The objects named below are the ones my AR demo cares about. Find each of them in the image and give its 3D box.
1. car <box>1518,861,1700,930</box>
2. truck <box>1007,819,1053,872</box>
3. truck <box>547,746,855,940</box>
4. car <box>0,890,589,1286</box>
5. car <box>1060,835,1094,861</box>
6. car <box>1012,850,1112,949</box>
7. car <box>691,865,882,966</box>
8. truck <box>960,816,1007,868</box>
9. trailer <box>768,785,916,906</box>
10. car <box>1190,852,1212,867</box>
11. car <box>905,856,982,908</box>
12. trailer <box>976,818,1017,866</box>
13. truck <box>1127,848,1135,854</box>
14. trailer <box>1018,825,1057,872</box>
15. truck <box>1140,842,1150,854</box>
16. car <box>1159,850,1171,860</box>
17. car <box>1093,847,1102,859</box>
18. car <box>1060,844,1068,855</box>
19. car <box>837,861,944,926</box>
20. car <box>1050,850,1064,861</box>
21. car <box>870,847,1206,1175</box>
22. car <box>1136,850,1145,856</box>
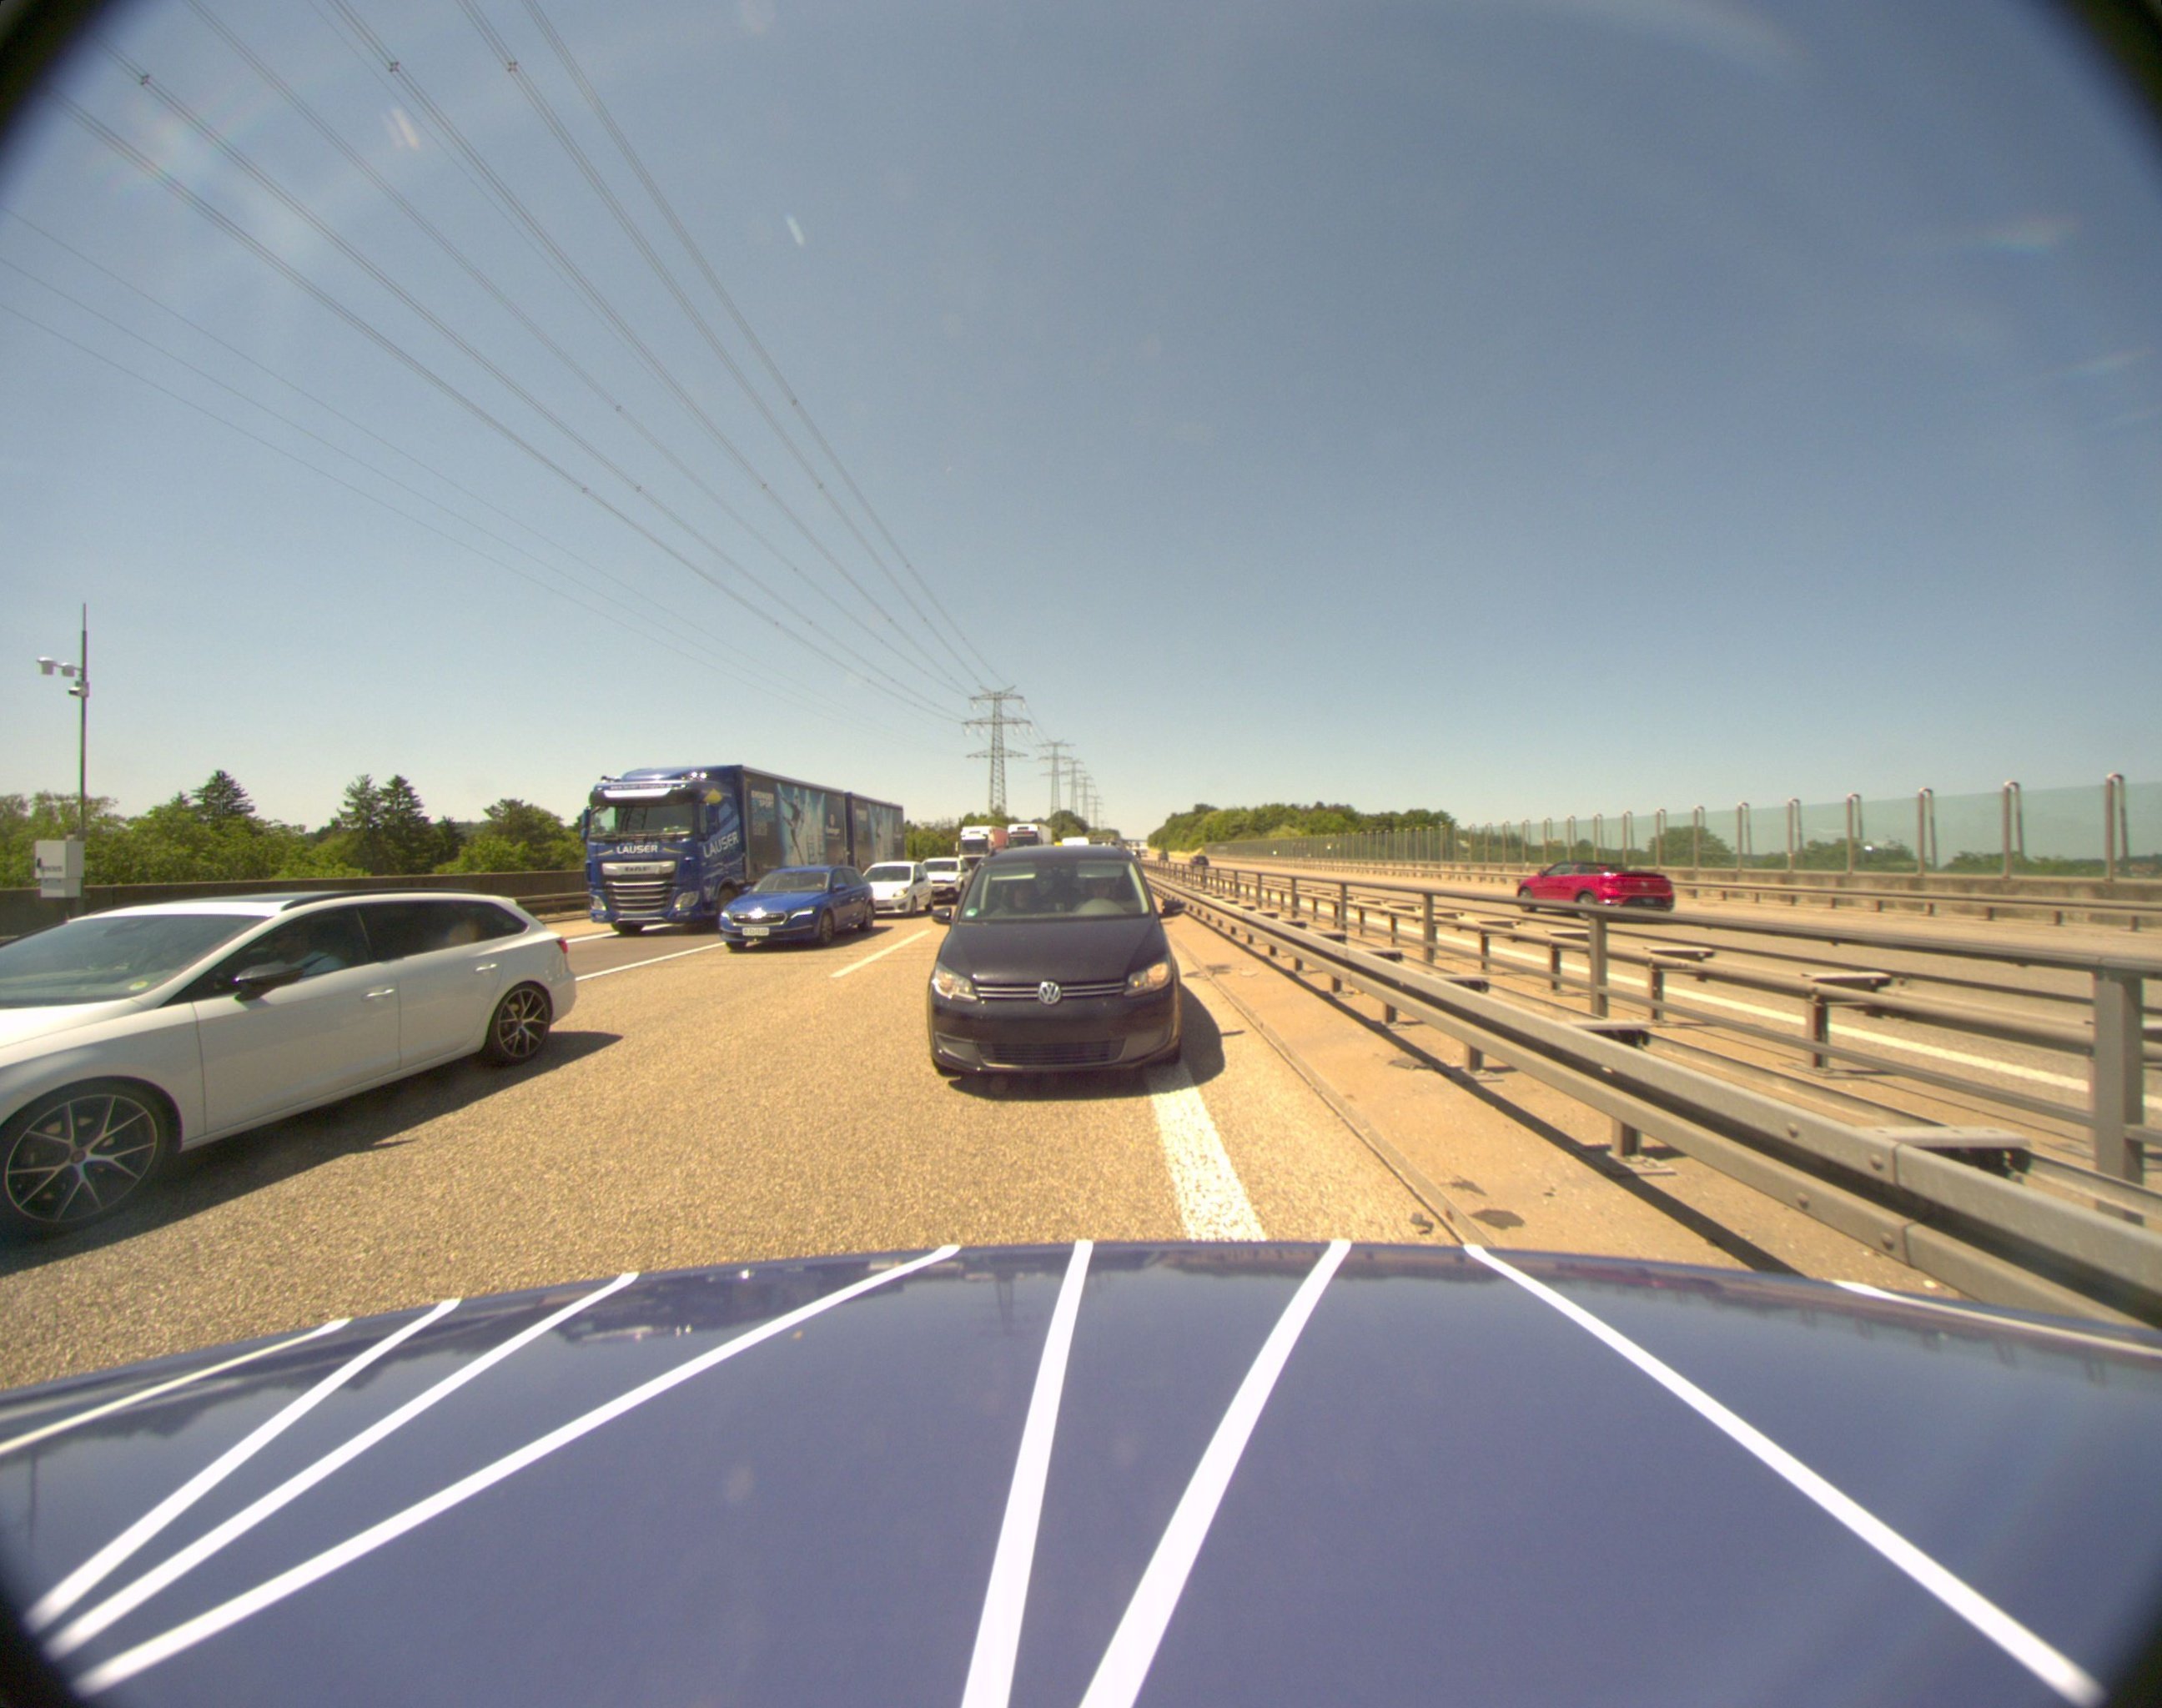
[{"bbox_3d":[12.959,0.946,19.009,1.786,1.412,4.000,2,1,1],"label":"car"},{"bbox_3d":[-3.903,-0.661,60.128,2.849,3.804,8.263,-2,1,0],"label":"truck"},{"bbox_3d":[-9.443,-0.289,20.989,2.859,3.927,10.393,-2,1,2],"label":"truck"},{"bbox_3d":[-5.255,1.065,4.508,1.713,1.443,4.429,-2,0,0],"label":"car"},{"bbox_3d":[-0.206,-0.405,48.135,1.924,1.501,3.996,-2,1,2],"label":"car"},{"bbox_3d":[-0.306,0.793,15.408,1.712,1.669,3.931,-2,1,1],"label":"car"},{"bbox_3d":[-5.363,1.038,14.576,1.712,1.443,4.563,-2,1,2],"label":"car"},{"bbox_3d":[-8.012,-1.008,63.282,2.608,3.964,8.263,-2,1,0],"label":"truck"},{"bbox_3d":[-9.188,-0.358,30.526,2.835,4.066,8.637,-2,1,1],"label":"trailer"},{"bbox_3d":[12.469,0.517,79.412,1.704,1.412,4.000,2,1,1],"label":"car"},{"bbox_3d":[-4.627,0.890,26.082,1.712,1.501,4.144,-2,1,2],"label":"car"},{"bbox_3d":[-7.874,-1.126,71.991,2.608,4.094,9.084,-2,1,0],"label":"trailer"},{"bbox_3d":[14.719,-0.959,224.559,2.295,1.807,5.278,2,1,1],"label":"truck"},{"bbox_3d":[-3.810,-0.542,68.823,2.822,3.830,9.084,-2,1,0],"label":"trailer"},{"bbox_3d":[18.520,-1.797,219.885,2.638,3.295,6.075,2,1,1],"label":"truck"},{"bbox_3d":[15.667,0.163,142.425,1.832,1.629,4.000,2,1,1],"label":"car"},{"bbox_3d":[3.071,-0.171,140.498,1.704,2.116,4.000,-2,1,1],"label":"car"},{"bbox_3d":[-4.088,-1.048,185.785,1.704,2.525,4.000,2,1,1],"label":"car"},{"bbox_3d":[-5.067,0.987,20.802,1.712,1.443,4.144,-2,1,2],"label":"car"},{"bbox_3d":[-3.459,0.233,109.045,1.704,1.412,4.000,2,1,1],"label":"car"},{"bbox_3d":[-0.198,0.817,5.985,1.712,1.669,3.931,-2,1,1],"label":"car"},{"bbox_3d":[13.195,-0.243,169.510,1.704,1.412,4.000,2,1,1],"label":"car"}]
